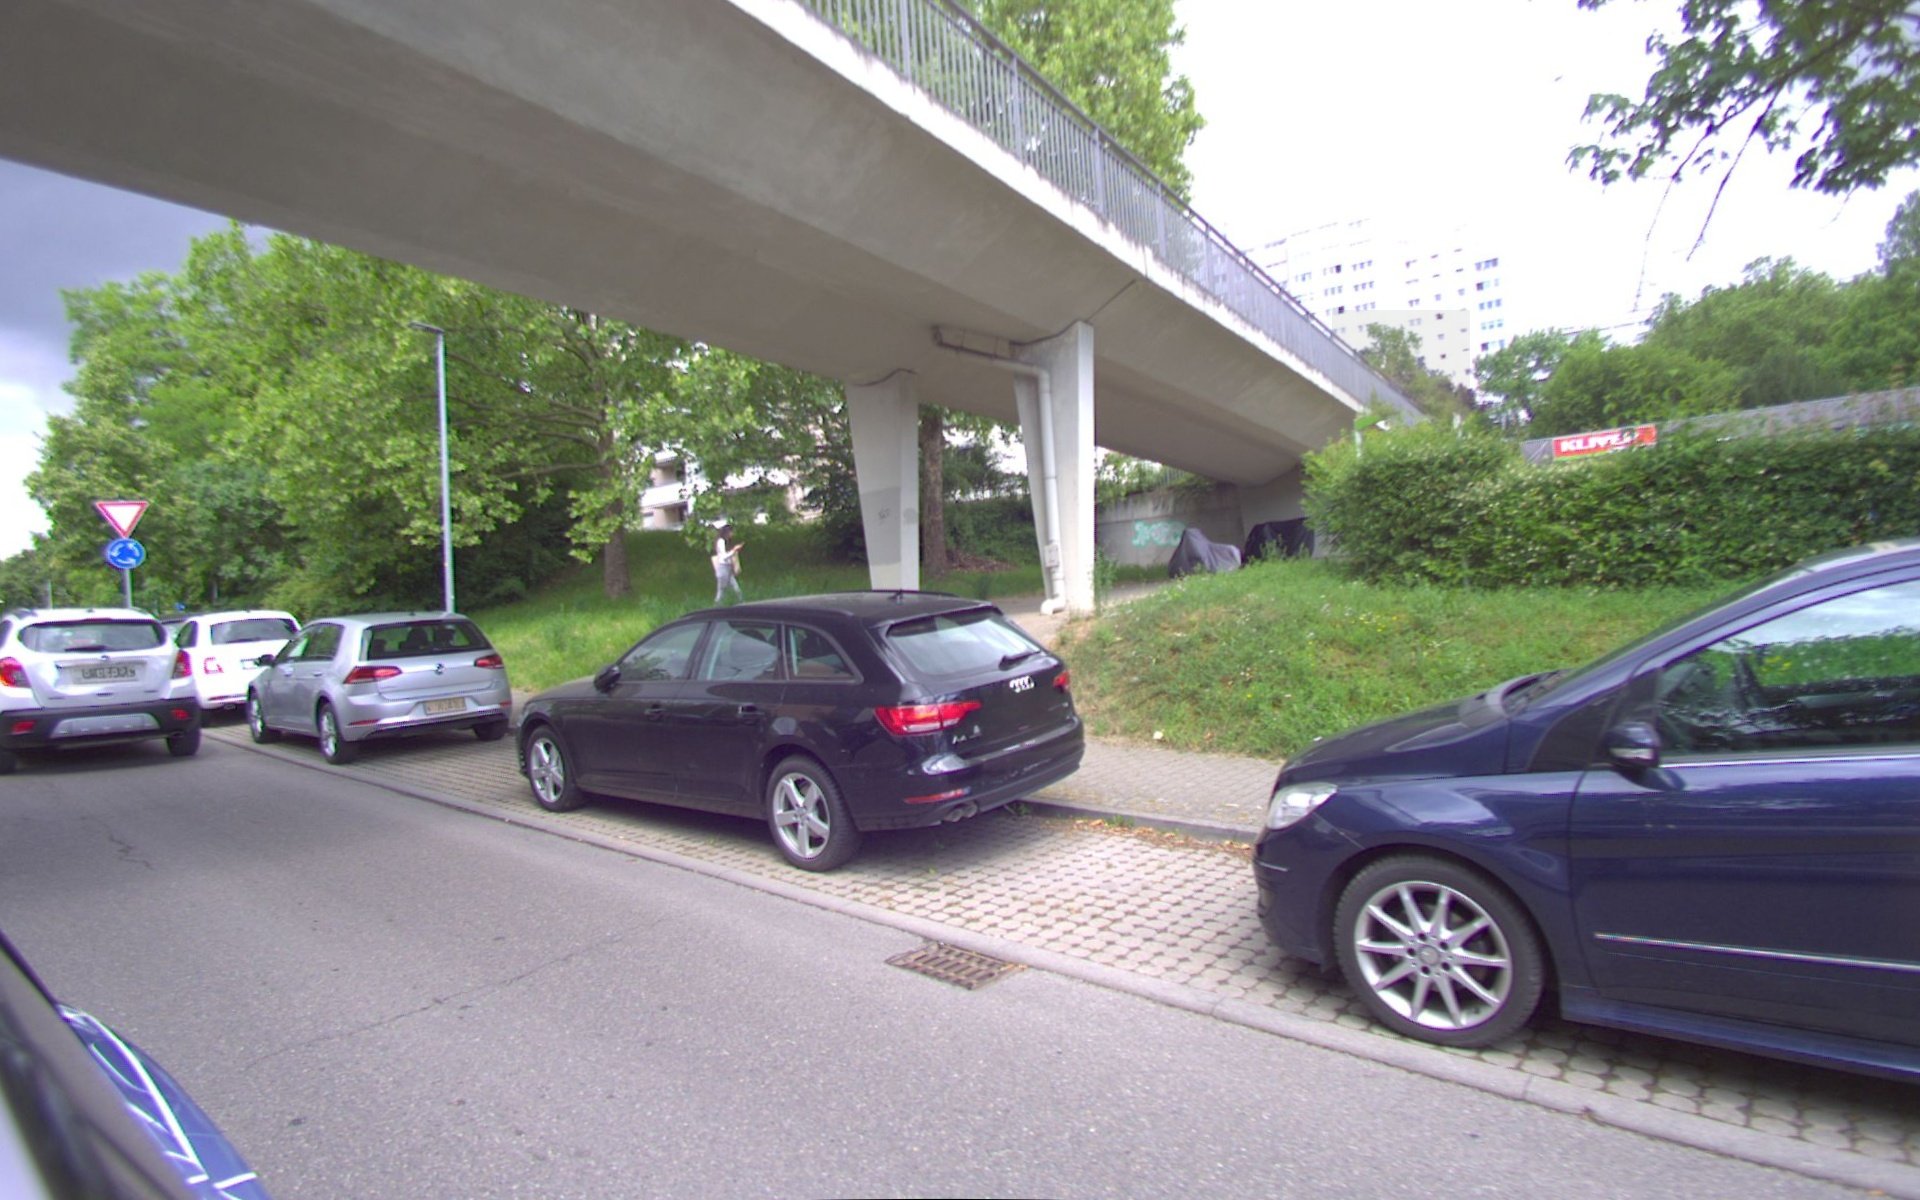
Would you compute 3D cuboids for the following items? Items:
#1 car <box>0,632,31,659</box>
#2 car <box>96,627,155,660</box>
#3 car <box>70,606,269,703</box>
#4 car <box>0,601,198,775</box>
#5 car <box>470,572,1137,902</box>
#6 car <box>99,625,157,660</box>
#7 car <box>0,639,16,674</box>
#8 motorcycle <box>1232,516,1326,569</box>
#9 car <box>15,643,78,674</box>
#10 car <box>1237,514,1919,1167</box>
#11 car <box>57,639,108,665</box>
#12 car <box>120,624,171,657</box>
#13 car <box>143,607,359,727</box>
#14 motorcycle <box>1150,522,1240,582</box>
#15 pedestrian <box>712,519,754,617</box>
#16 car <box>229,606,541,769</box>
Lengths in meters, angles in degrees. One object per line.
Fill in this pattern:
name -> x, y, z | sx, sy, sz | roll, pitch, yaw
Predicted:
car -> -60.833, 2.907, 63.316 | 3.619, 1.659, 1.857 | -1, -1, -30
car -> -42.800, 2.224, 51.981 | 1.667, 1.475, 4.469 | -6, 1, -32
car -> -14.344, 0.932, 18.310 | 3.992, 1.479, 1.770 | 1, -2, 36
car -> -10.074, 0.884, 11.322 | 4.051, 1.623, 1.729 | -2, -1, 42
car -> -1.255, 0.678, 6.829 | 4.445, 1.520, 1.867 | -2, 1, 38
car -> -46.030, 2.317, 56.083 | 1.775, 1.627, 4.491 | -6, 2, -32
car -> -45.231, 2.663, 46.408 | 1.730, 1.628, 4.013 | -3, 0, -27
motorcycle -> 8.961, -1.608, 28.517 | 2.312, 1.280, 0.875 | -4, 0, 37
car -> -53.581, 3.391, 59.446 | 1.730, 1.628, 4.013 | -3, 0, -27
car -> 3.053, 0.524, 2.995 | 3.835, 1.570, 1.866 | -2, 2, 40
car -> -60.033, 3.543, 69.298 | 1.730, 1.628, 4.013 | -3, 0, -27
car -> -49.054, 2.441, 61.044 | 1.783, 1.676, 4.449 | -6, 1, -32
car -> -10.512, 0.878, 14.930 | 3.546, 1.471, 1.864 | 0, 1, 42
motorcycle -> 5.654, -1.138, 24.494 | 0.871, 1.280, 2.052 | -3, 0, -31
pedestrian -> -4.161, -0.566, 18.547 | 0.649, 1.734, 0.741 | -3, 0, -14
car -> -6.601, 0.859, 11.442 | 3.999, 1.438, 1.865 | -2, 1, 42
